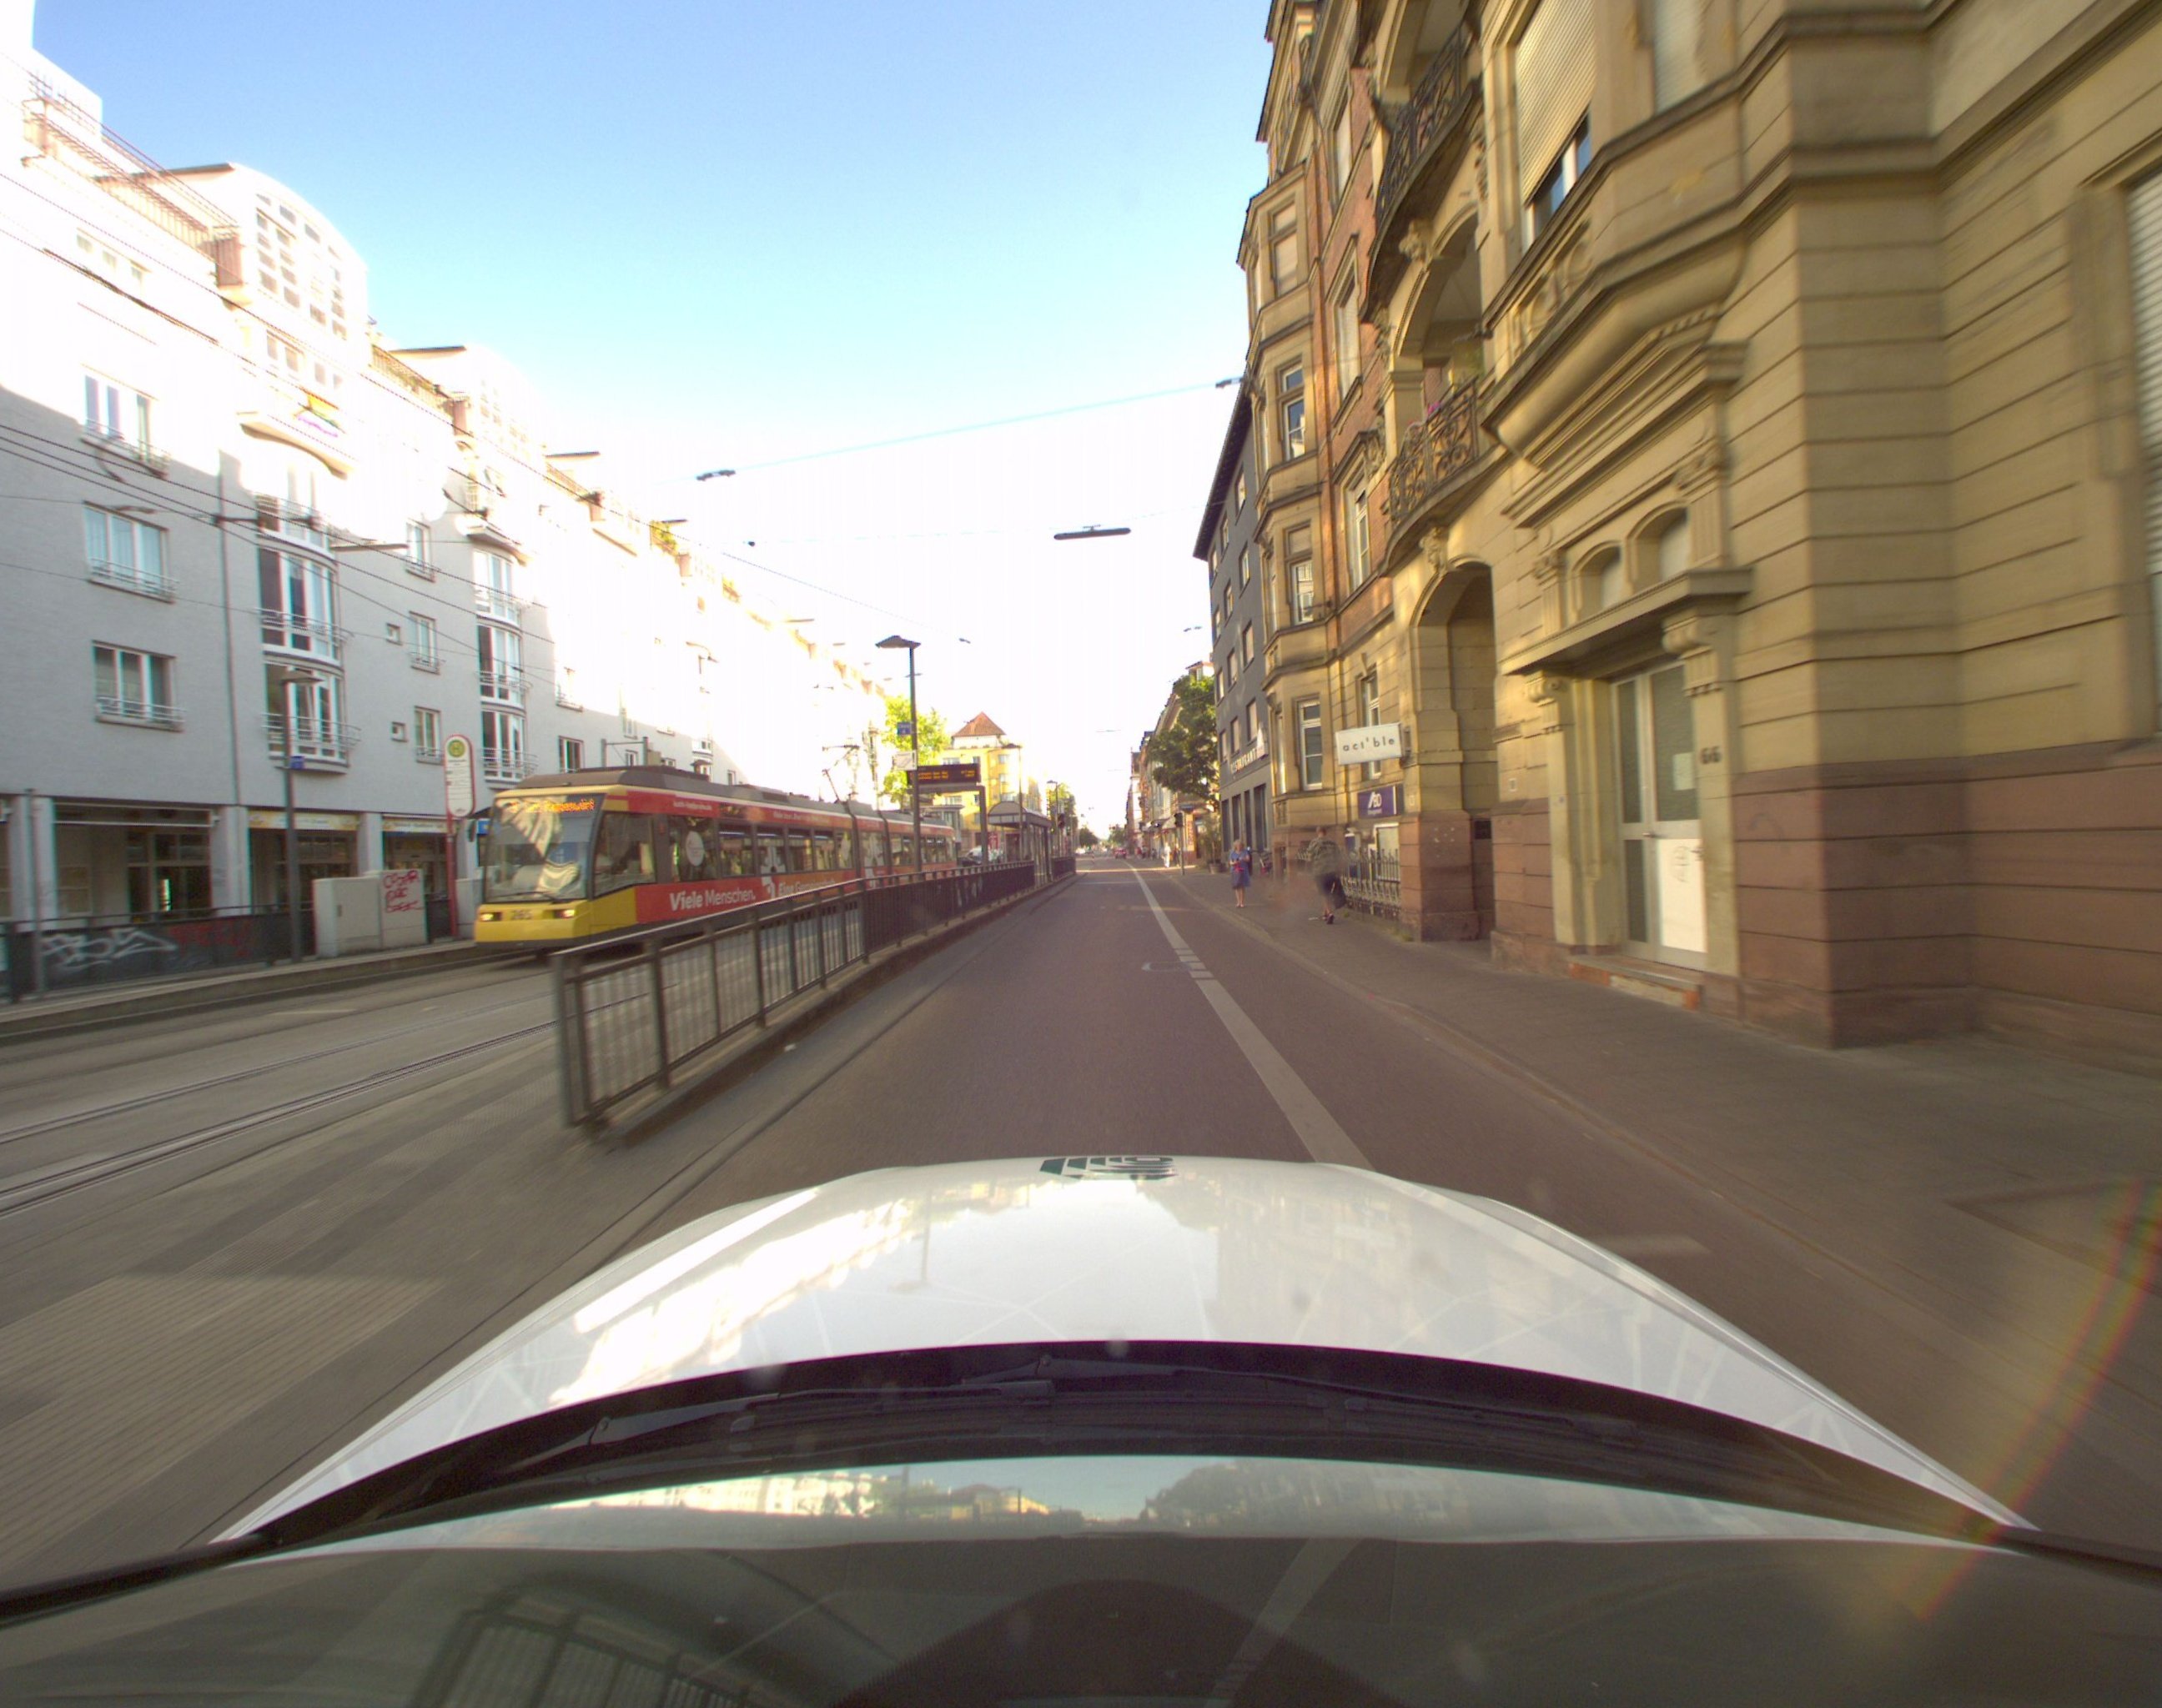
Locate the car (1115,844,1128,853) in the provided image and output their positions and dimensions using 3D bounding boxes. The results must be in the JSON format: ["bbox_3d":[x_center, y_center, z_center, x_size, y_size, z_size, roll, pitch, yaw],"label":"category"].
[{"bbox_3d":[6.740,-0.934,136.206,1.986,1.449,4.002,-3,1,2],"label":"car"}]

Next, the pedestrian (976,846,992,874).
[{"bbox_3d":[-6.063,0.370,50.875,0.866,1.714,0.787,-2,2,-1],"label":"pedestrian"}]

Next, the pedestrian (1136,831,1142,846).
[{"bbox_3d":[7.110,-1.934,99.530,0.556,1.796,0.652,-4,1,9],"label":"pedestrian"}]

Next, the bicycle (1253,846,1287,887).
[{"bbox_3d":[5.547,0.341,23.947,0.588,1.070,1.807,-7,1,5],"label":"bicycle"}]

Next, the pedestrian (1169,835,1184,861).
[{"bbox_3d":[6.424,-0.409,54.958,0.711,1.602,0.773,-7,1,-1],"label":"pedestrian"}]

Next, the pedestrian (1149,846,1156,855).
[{"bbox_3d":[8.886,-0.441,101.142,0.687,1.043,0.682,-4,1,6],"label":"pedestrian"}]

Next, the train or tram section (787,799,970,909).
[{"bbox_3d":[-7.689,-0.050,34.275,2.873,3.490,14.965,-3,0,4],"label":"train or tram section"}]

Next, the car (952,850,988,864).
[{"bbox_3d":[-13.397,0.347,98.686,3.970,1.510,1.802,-3,1,3],"label":"car"}]

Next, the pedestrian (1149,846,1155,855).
[{"bbox_3d":[8.768,-0.440,100.145,0.687,1.043,0.682,-4,1,6],"label":"pedestrian"}]

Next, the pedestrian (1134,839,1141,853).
[{"bbox_3d":[8.300,-1.148,118.870,0.840,1.917,0.661,-4,1,0],"label":"pedestrian"}]

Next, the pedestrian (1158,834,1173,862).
[{"bbox_3d":[5.682,-0.412,54.911,0.711,1.774,0.773,-7,1,-1],"label":"pedestrian"}]

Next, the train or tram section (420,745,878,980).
[{"bbox_3d":[-8.486,0.088,19.725,2.874,3.490,14.175,-3,0,2],"label":"train or tram section"}]

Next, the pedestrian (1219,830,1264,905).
[{"bbox_3d":[3.733,0.310,19.021,0.760,1.645,0.833,-6,1,2],"label":"pedestrian"}]

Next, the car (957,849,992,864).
[{"bbox_3d":[-13.186,0.303,101.263,3.970,1.510,1.802,-3,1,3],"label":"car"}]

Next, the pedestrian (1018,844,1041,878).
[{"bbox_3d":[-1.862,0.242,29.541,0.682,1.175,0.537,-4,1,3],"label":"pedestrian"}]

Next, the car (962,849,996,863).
[{"bbox_3d":[-12.948,0.257,103.789,3.970,1.510,1.802,-3,1,3],"label":"car"}]

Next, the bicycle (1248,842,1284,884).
[{"bbox_3d":[5.865,0.254,25.880,0.621,1.197,1.908,-7,1,1],"label":"bicycle"}]

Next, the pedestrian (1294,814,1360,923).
[{"bbox_3d":[4.404,0.248,14.610,0.798,1.823,0.798,-6,1,1],"label":"pedestrian"}]

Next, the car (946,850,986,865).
[{"bbox_3d":[-13.521,0.397,96.031,4.302,1.510,1.802,-3,1,3],"label":"car"}]

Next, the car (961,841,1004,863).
[{"bbox_3d":[-12.805,-0.285,106.361,5.085,2.575,2.130,-3,1,3],"label":"car"}]

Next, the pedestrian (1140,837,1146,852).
[{"bbox_3d":[7.719,-1.149,101.131,0.645,1.796,0.563,-4,1,6],"label":"pedestrian"}]
